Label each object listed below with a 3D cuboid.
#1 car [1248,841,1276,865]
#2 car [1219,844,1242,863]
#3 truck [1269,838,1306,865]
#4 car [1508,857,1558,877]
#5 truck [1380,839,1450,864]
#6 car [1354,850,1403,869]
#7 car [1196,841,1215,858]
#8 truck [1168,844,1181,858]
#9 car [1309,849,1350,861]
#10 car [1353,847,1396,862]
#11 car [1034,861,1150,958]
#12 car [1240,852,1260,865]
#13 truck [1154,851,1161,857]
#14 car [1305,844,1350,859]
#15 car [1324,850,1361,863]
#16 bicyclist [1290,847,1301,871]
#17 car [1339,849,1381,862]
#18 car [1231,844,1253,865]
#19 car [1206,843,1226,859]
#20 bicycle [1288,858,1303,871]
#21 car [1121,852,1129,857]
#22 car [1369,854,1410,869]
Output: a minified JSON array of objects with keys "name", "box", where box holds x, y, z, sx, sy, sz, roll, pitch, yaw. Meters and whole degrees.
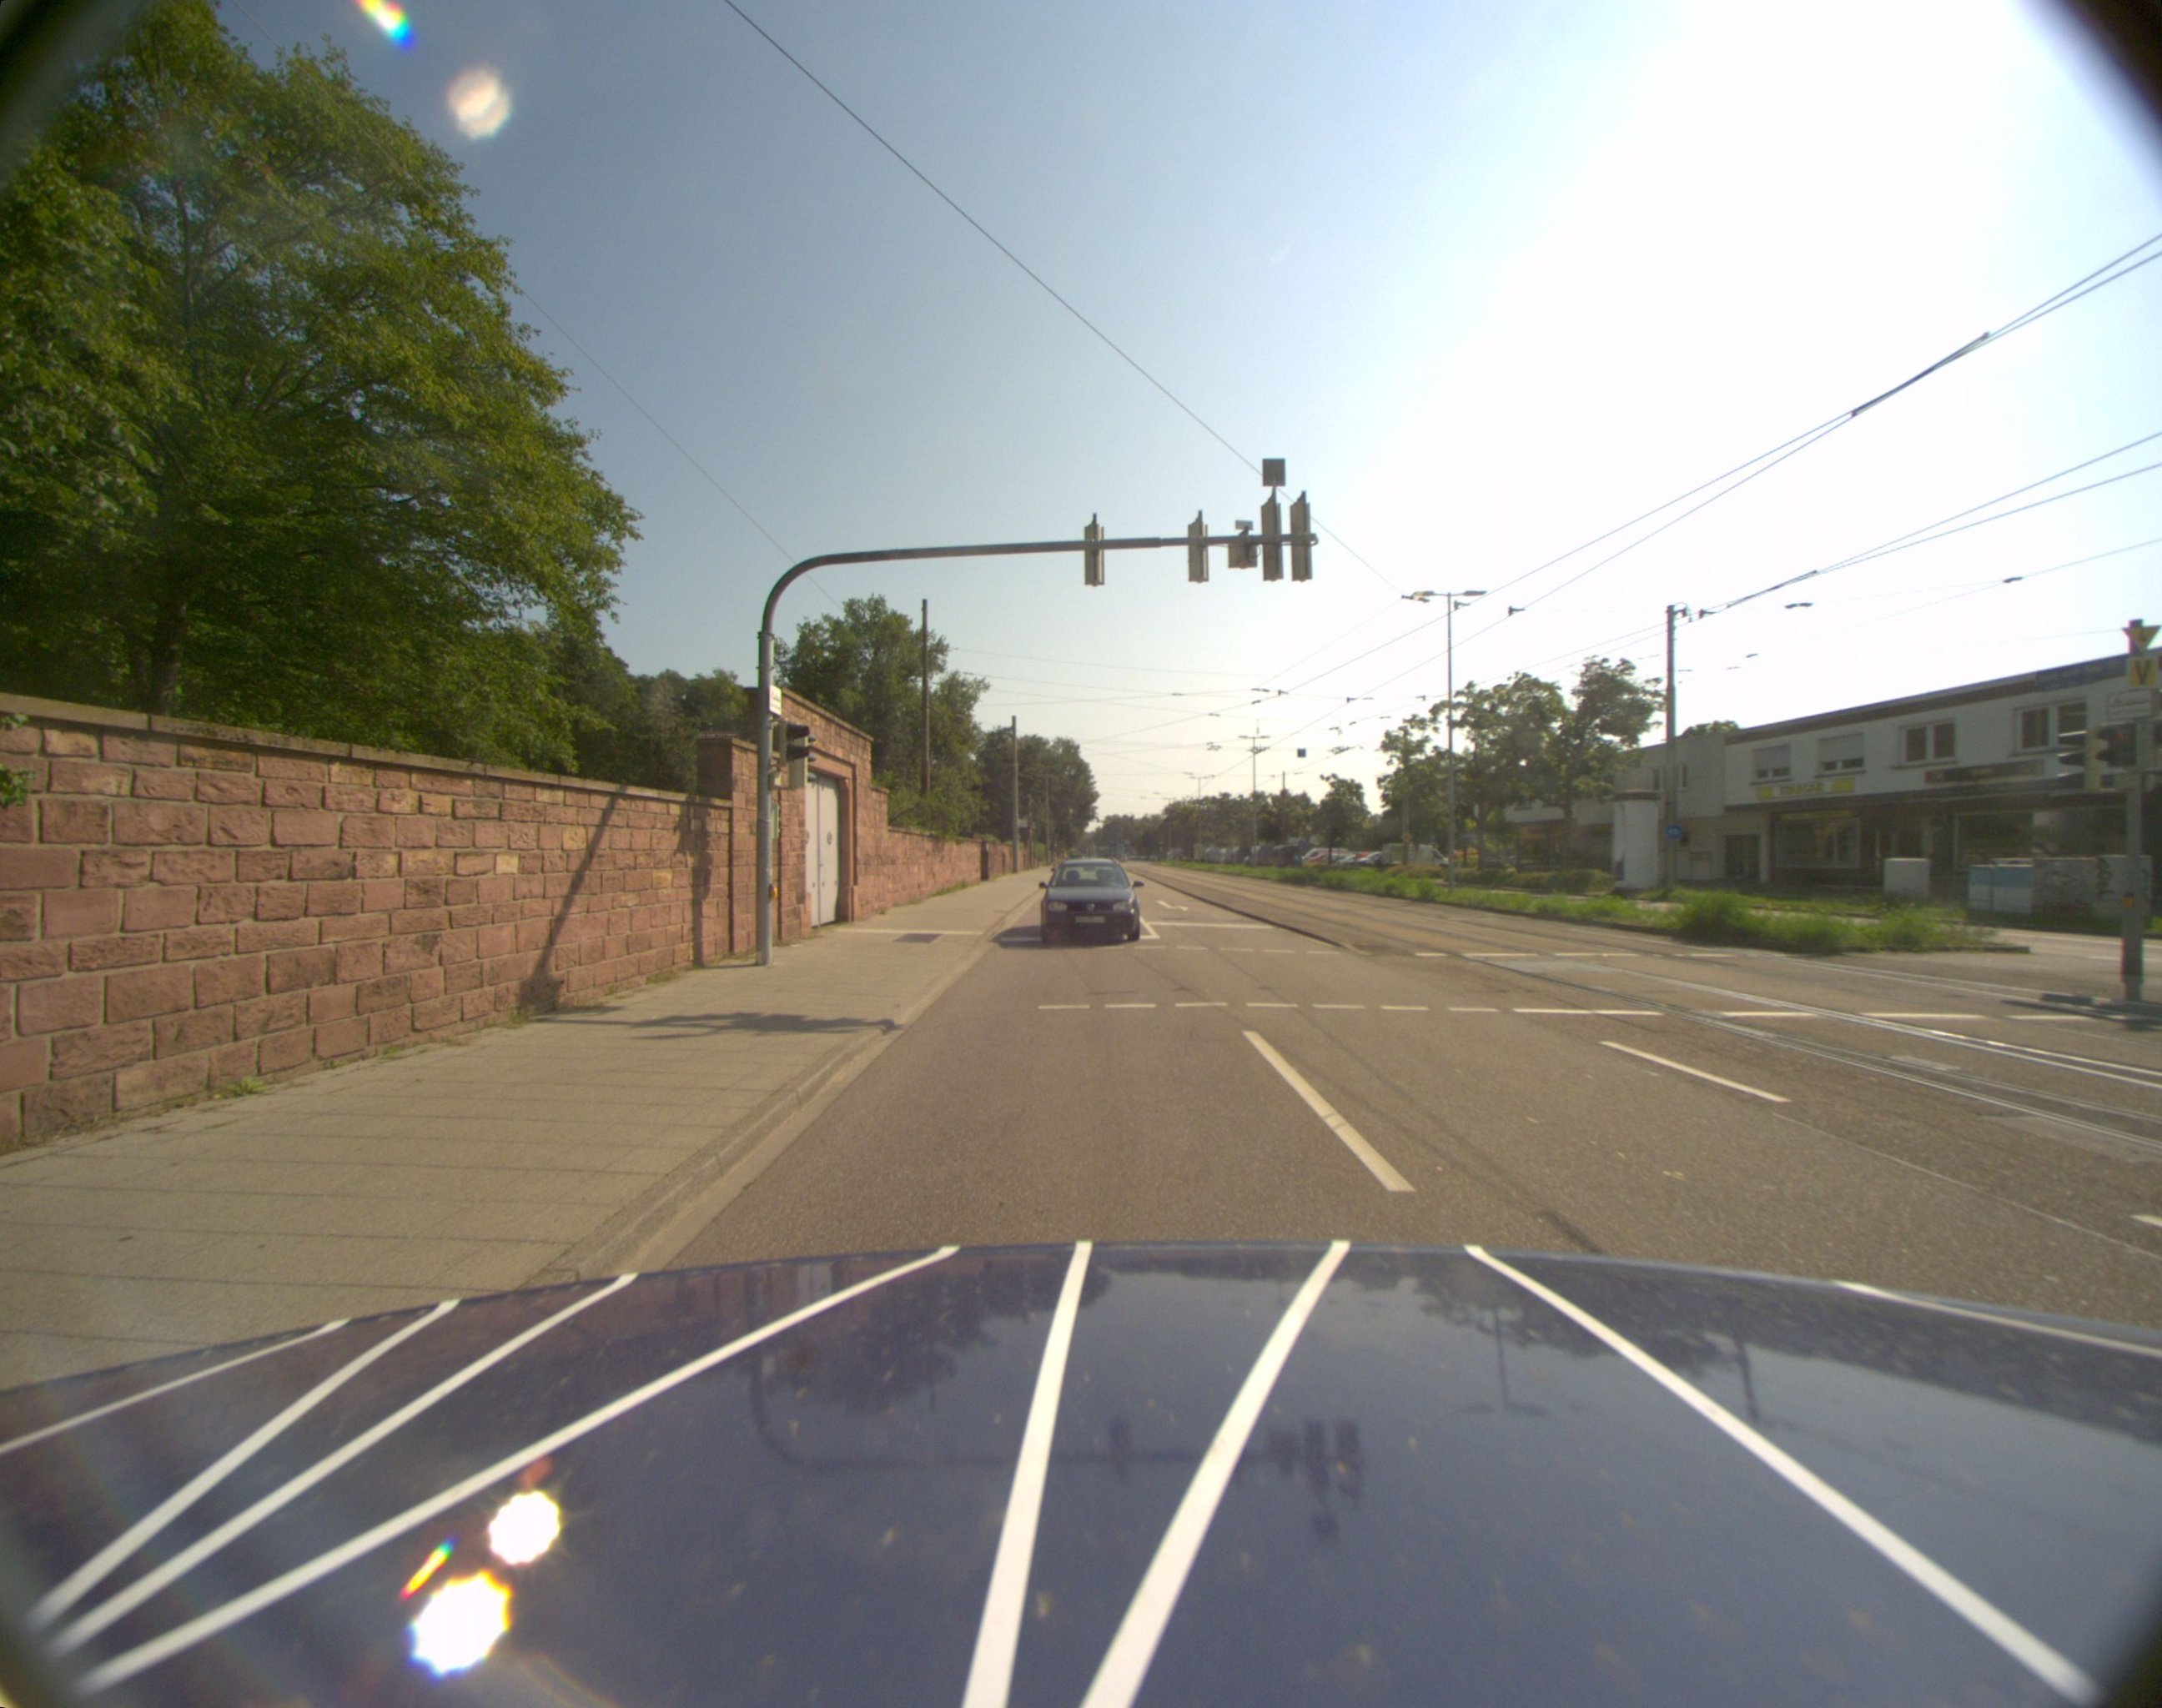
[{"name":"car","box":[20.576,-0.140,86.568,1.993,2.571,6.467,-1,1,3]},{"name":"car","box":[21.027,-0.033,107.217,2.137,2.571,5.631,2,1,1]},{"name":"truck","box":[20.771,-0.291,76.732,2.086,2.533,5.738,2,1,0]},{"name":"car","box":[44.088,1.282,74.144,3.810,1.758,1.759,2,1,6]},{"name":"truck","box":[31.350,-0.222,71.386,5.504,2.160,2.259,2,1,0]},{"name":"car","box":[30.959,0.574,79.032,4.410,1.774,1.633,2,1,0]},{"name":"car","box":[21.480,-0.815,131.401,2.129,2.789,7.231,2,1,1]},{"name":"truck","box":[21.521,-0.777,174.629,2.278,3.103,8.788,2,1,3]},{"name":"car","box":[31.822,0.110,97.306,4.665,1.441,1.633,2,1,0]},{"name":"car","box":[31.630,0.007,81.830,3.933,1.510,1.633,2,1,0]},{"name":"car","box":[0.231,0.882,13.740,1.776,1.416,3.935,-1,0,2]},{"name":"car","box":[20.657,0.558,92.940,1.748,1.543,3.834,-1,0,3]},{"name":"truck","box":[21.665,-0.040,215.054,1.691,1.665,3.655,2,1,1]},{"name":"car","box":[32.599,-0.338,100.411,5.198,1.914,2.052,2,1,0]},{"name":"car","box":[31.695,0.315,92.187,3.933,1.441,1.633,2,1,0]},{"name":"bicyclist","box":[18.586,0.394,65.885,0.639,2.052,0.774,2,1,2]},{"name":"car","box":[31.447,0.157,85.653,4.165,1.455,1.625,1,0,4]},{"name":"car","box":[20.950,0.068,98.925,1.826,2.571,5.910,-1,0,2]},{"name":"car","box":[21.558,-0.534,121.605,2.148,2.444,4.831,2,1,0]},{"name":"bicycle","box":[18.578,0.875,65.829,0.716,1.085,2.265,2,1,3]},{"name":"car","box":[11.039,0.087,189.987,1.726,1.317,4.000,2,1,1]},{"name":"car","box":[30.847,0.714,76.071,3.413,1.418,1.633,2,1,0]}]
